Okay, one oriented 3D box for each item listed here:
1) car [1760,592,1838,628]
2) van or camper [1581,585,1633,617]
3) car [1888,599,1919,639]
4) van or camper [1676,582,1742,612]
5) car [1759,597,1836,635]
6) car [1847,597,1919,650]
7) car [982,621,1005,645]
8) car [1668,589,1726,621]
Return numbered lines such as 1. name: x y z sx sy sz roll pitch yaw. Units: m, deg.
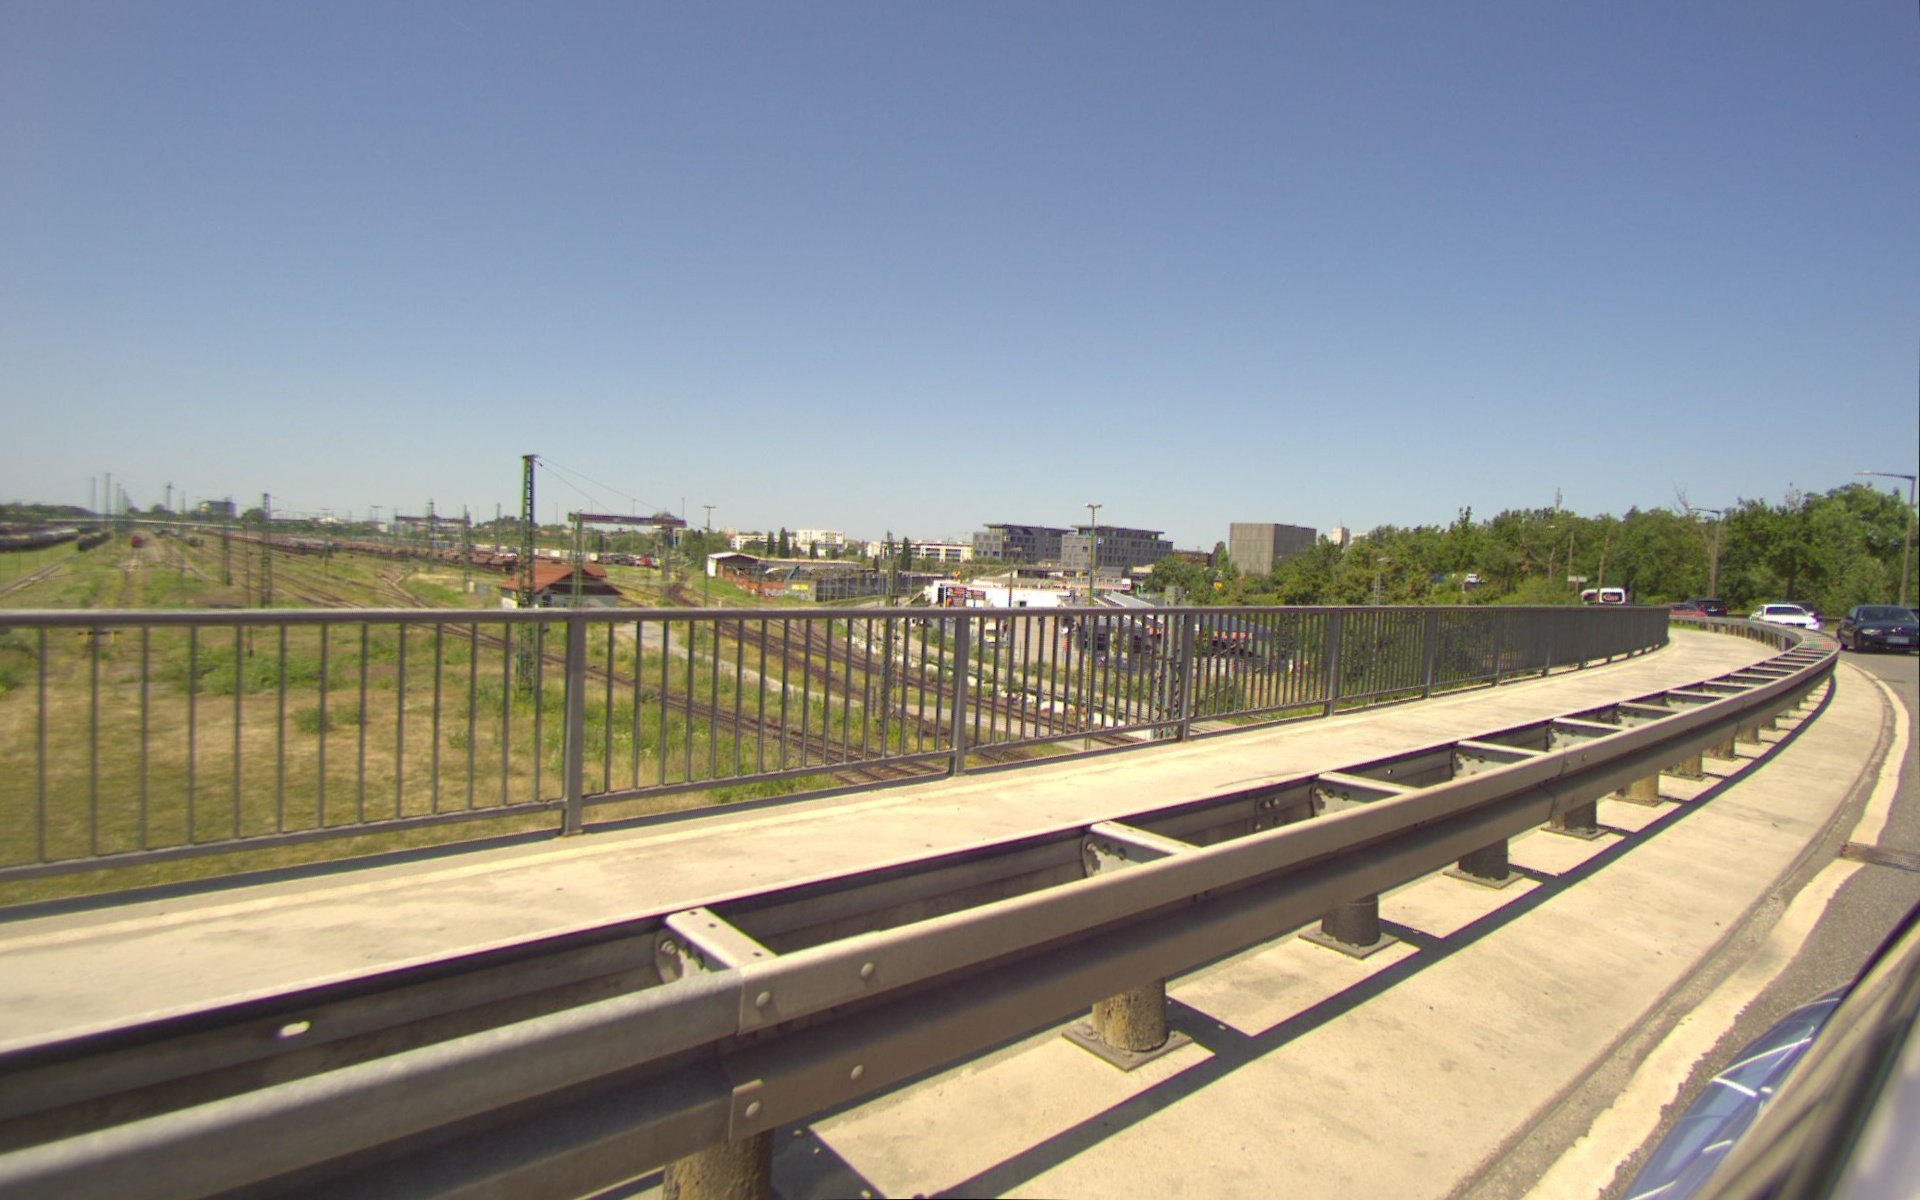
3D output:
1. car: 43.899 0.497 53.055 1.880 1.675 4.227 2 2 22
2. van or camper: 54.409 0.017 85.248 2.025 2.569 5.856 1 1 15
3. car: 37.815 0.778 39.205 1.778 1.436 3.738 3 3 27
4. van or camper: 49.032 -0.257 66.365 1.973 1.782 4.674 2 2 17
5. car: 34.642 0.622 41.955 1.802 1.446 3.676 1 1 30
6. car: 27.411 0.648 29.762 1.561 1.434 4.069 1 1 36
7. car: 3.641 3.534 109.425 2.114 2.382 4.923 -3 -1 4
8. car: 43.230 0.259 59.444 1.882 1.675 4.222 2 2 25
